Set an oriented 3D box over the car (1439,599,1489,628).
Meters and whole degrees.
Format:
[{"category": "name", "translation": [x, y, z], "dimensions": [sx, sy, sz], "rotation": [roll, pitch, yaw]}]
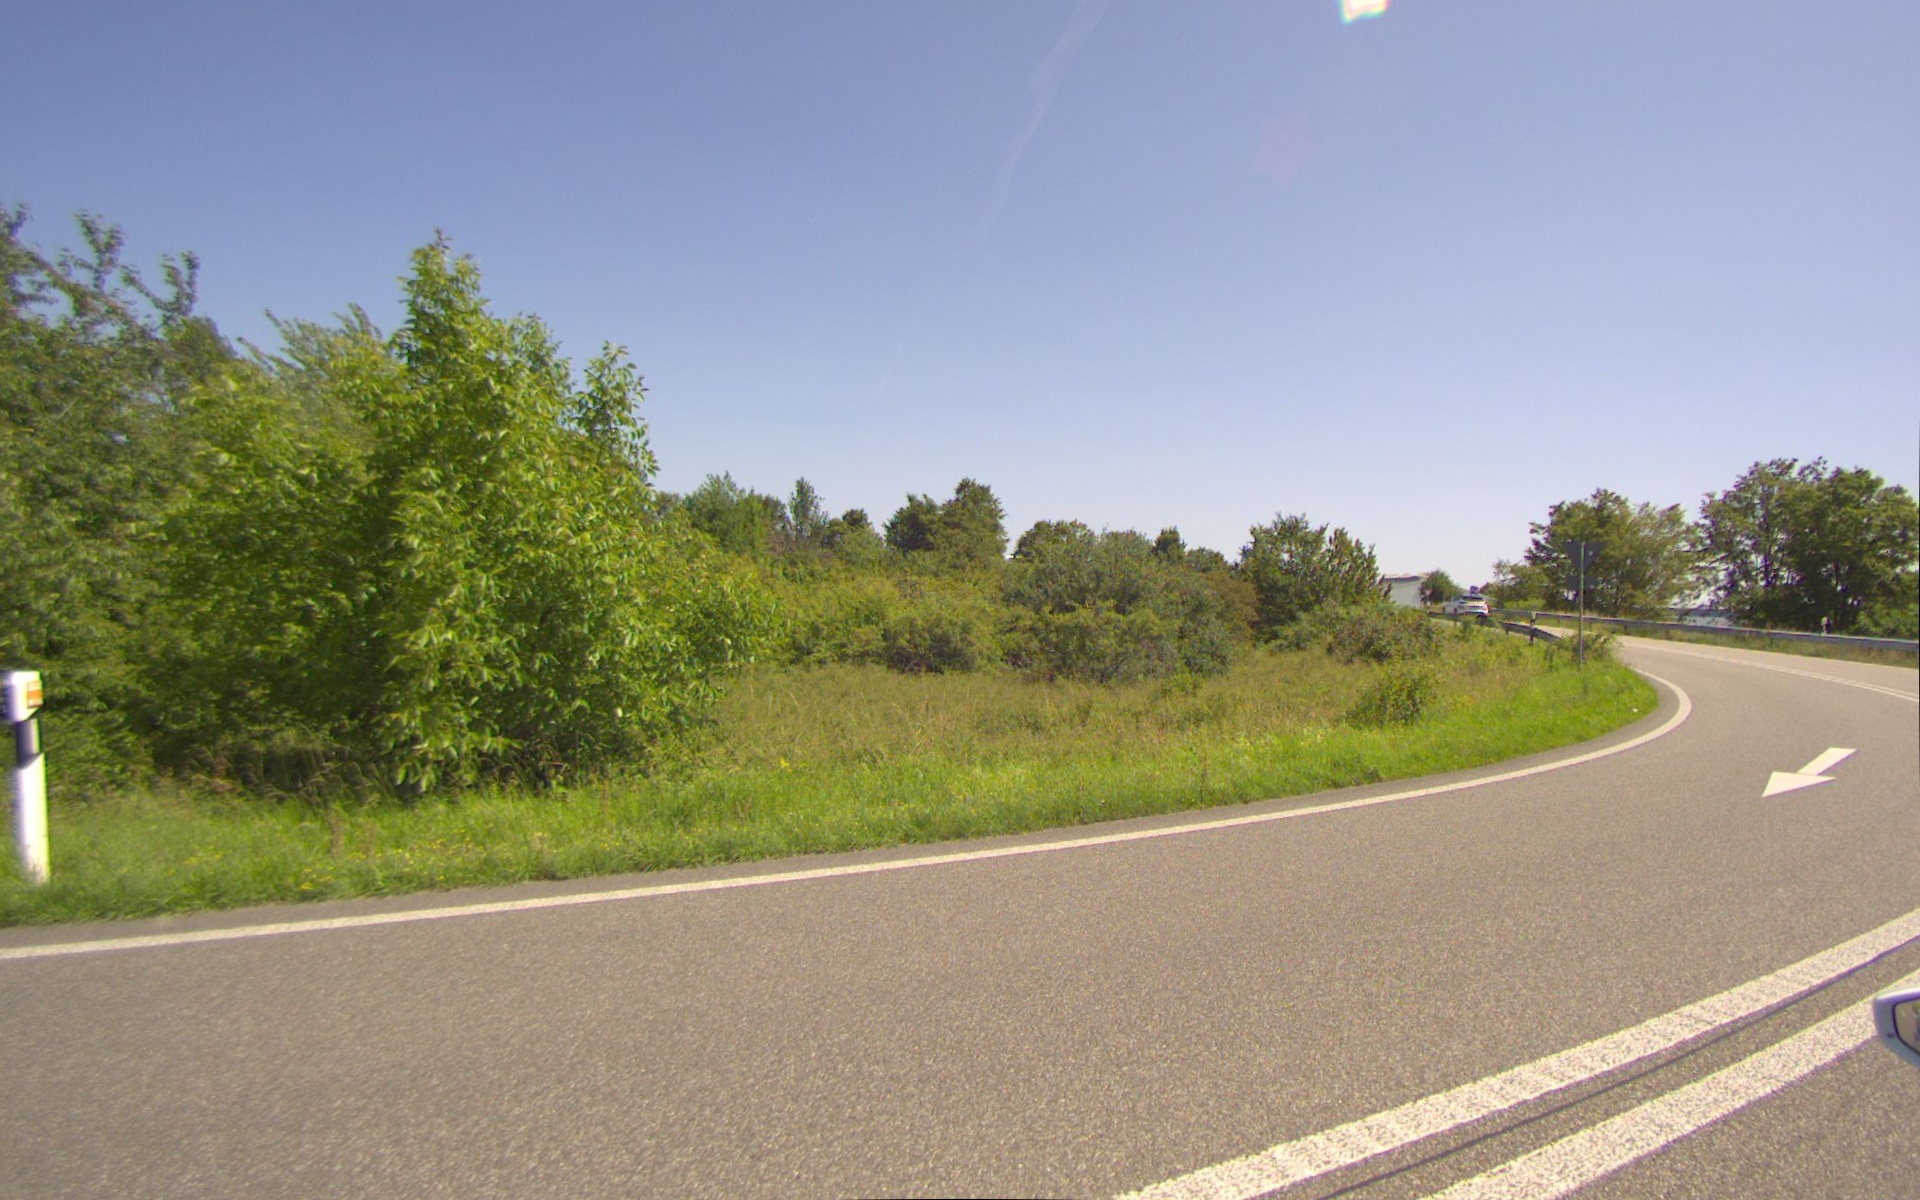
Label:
[{"category": "car", "translation": [31.985, 0.855, 63.849], "dimensions": [1.778, 1.713, 4.003], "rotation": [3, 0, 11]}]
